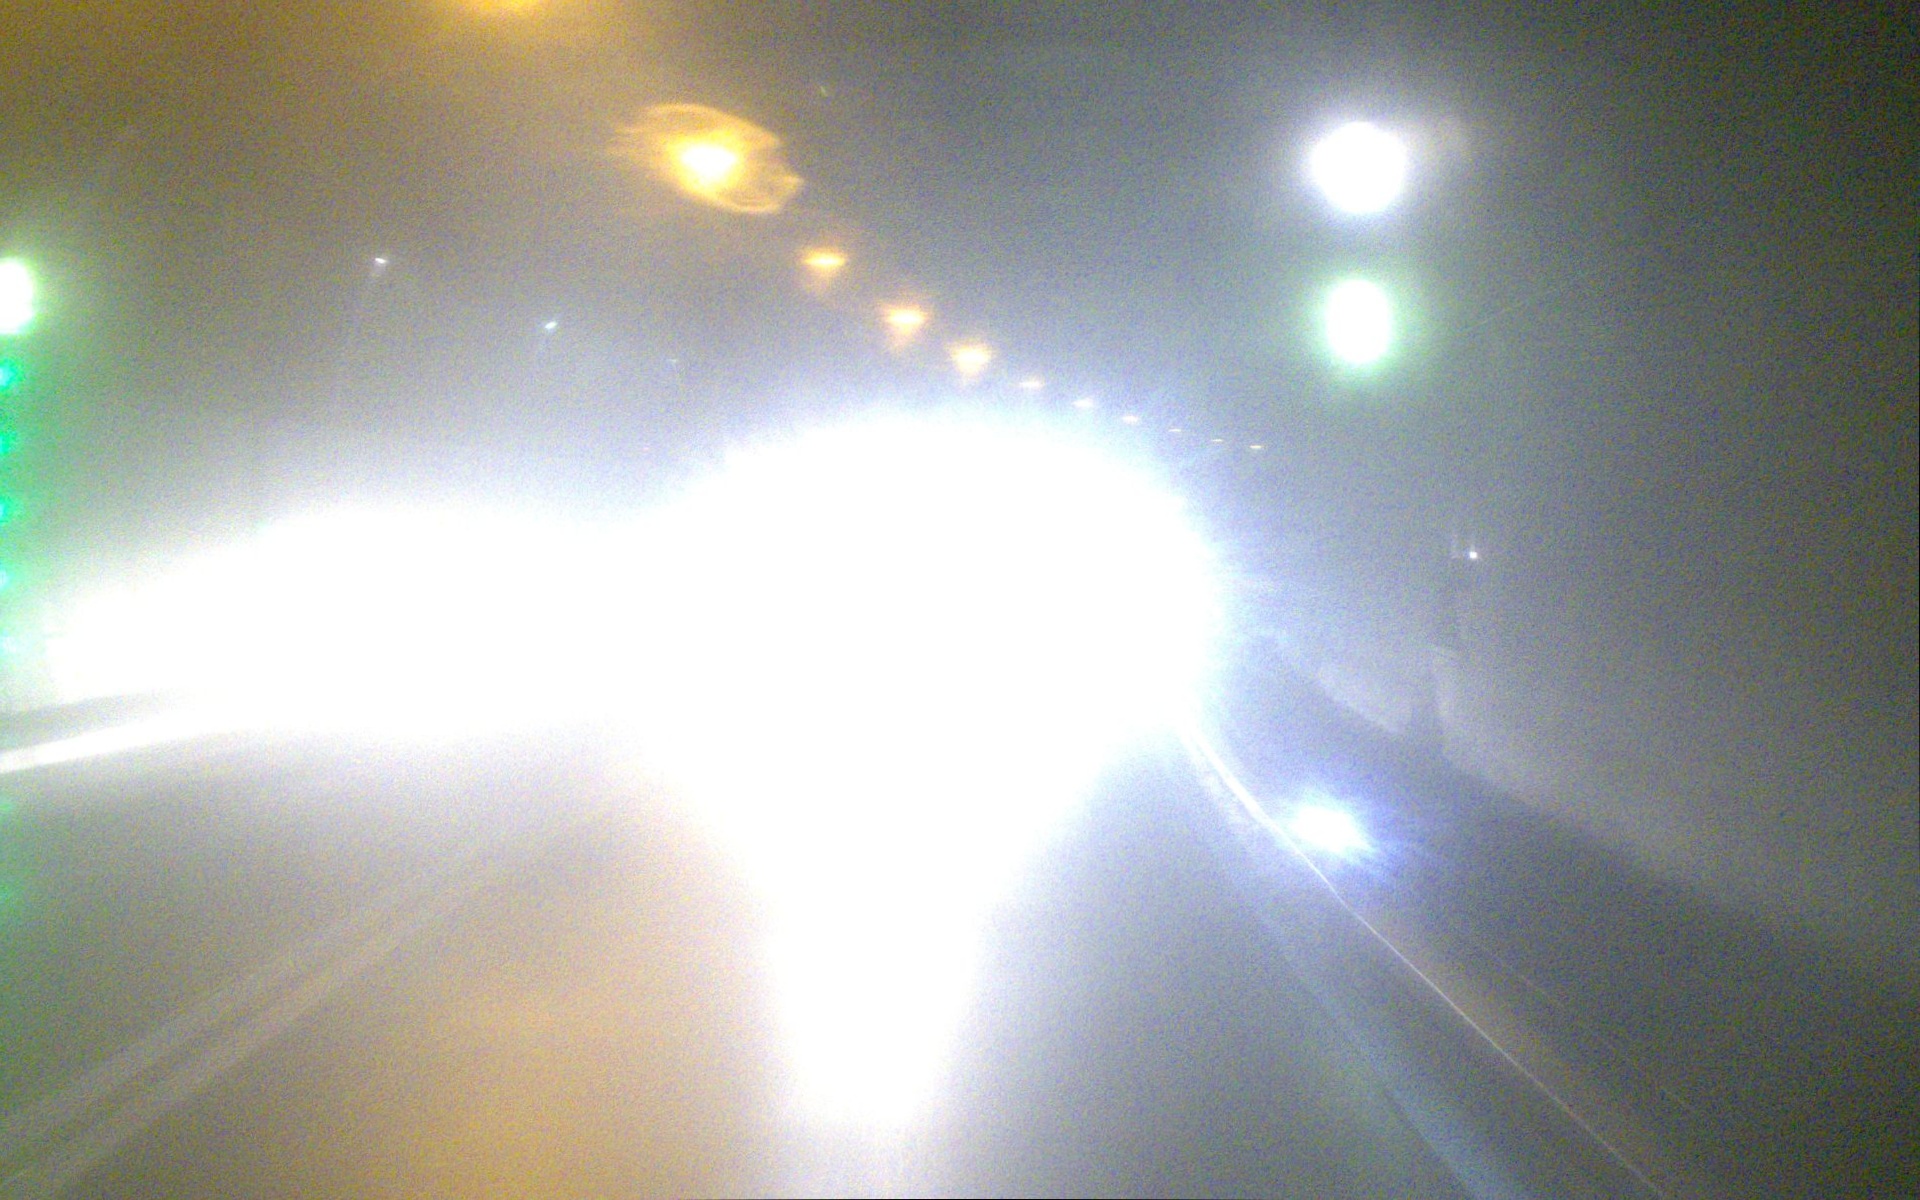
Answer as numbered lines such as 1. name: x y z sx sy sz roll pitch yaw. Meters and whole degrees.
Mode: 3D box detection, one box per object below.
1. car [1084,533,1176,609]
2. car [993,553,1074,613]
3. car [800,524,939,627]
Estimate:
1. car: 3.836 -0.676 78.134 1.993 1.645 4.000 1 1 2
2. car: 1.828 -0.441 86.401 1.845 1.469 4.000 0 1 -1
3. car: -1.496 -0.442 58.159 1.994 1.645 4.000 1 1 3
